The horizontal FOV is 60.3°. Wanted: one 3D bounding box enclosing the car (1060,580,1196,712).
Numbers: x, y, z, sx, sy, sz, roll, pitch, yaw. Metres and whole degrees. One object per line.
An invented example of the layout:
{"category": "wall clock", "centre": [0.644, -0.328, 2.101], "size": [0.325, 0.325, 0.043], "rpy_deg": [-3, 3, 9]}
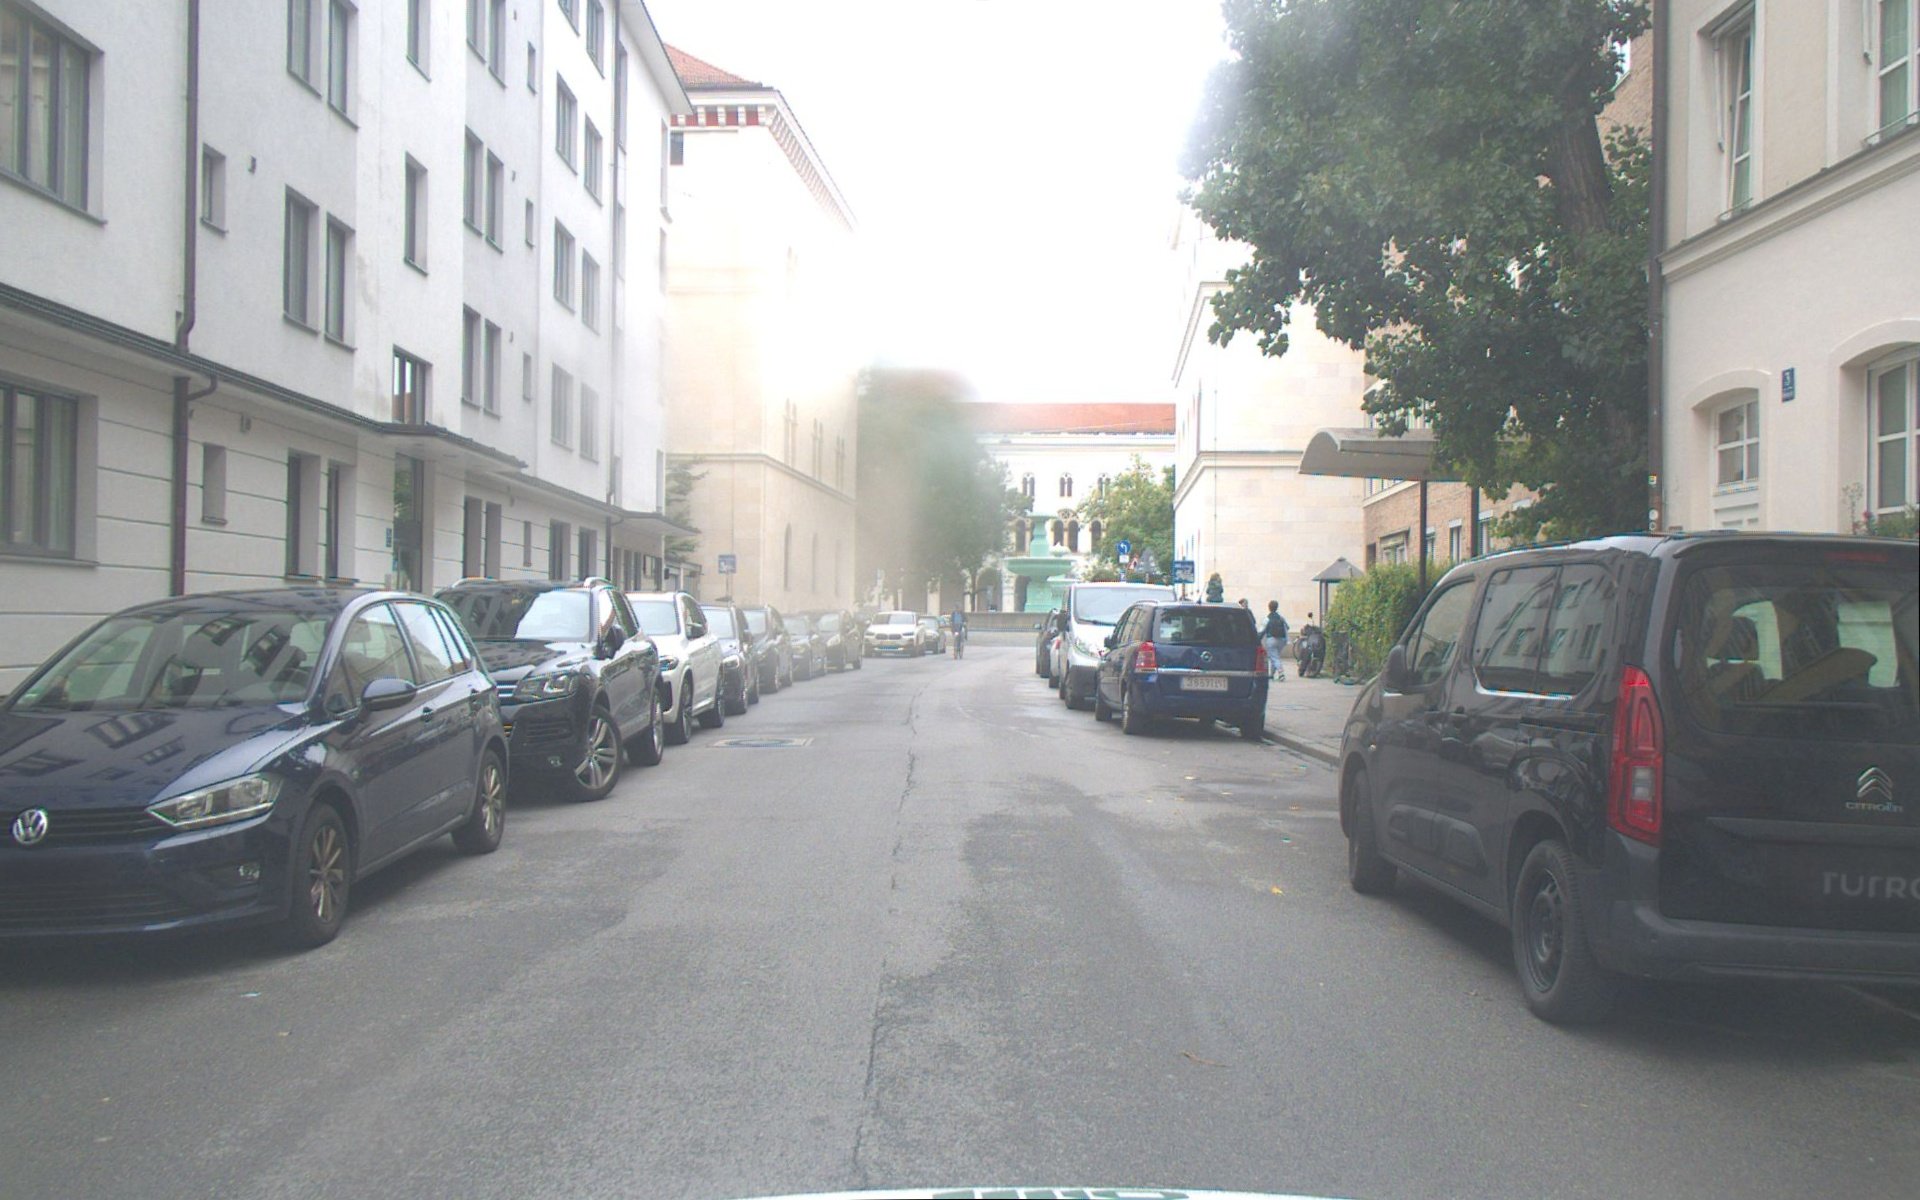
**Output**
{"category": "car", "centre": [2.644, 0.686, 27.063], "size": [1.843, 1.958, 4.875], "rpy_deg": [0, 0, 1]}

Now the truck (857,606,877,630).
{"category": "truck", "centre": [-10.138, 1.971, 180.902], "size": [1.955, 2.532, 3.995], "rpy_deg": [1, 0, -6]}

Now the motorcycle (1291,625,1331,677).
{"category": "motorcycle", "centre": [7.768, 1.121, 36.611], "size": [0.478, 1.072, 1.924], "rpy_deg": [1, 0, 0]}

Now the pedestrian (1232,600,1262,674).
{"category": "pedestrian", "centre": [6.570, 0.838, 37.878], "size": [0.575, 1.661, 0.877], "rpy_deg": [1, 0, 5]}

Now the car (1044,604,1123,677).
{"category": "car", "centre": [2.886, 0.922, 39.288], "size": [1.711, 1.621, 3.957], "rpy_deg": [1, 0, 2]}

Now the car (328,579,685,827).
{"category": "car", "centre": [-3.602, 0.712, 14.045], "size": [1.834, 1.717, 4.519], "rpy_deg": [-1, 0, -1]}

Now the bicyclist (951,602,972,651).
{"category": "bicyclist", "centre": [0.057, 0.854, 54.019], "size": [0.643, 1.578, 0.888], "rpy_deg": [0, -1, 2]}

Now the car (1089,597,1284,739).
{"category": "car", "centre": [2.803, 0.800, 21.378], "size": [1.771, 1.628, 4.213], "rpy_deg": [1, 0, -2]}

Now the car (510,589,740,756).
{"category": "car", "centre": [-3.796, 0.738, 19.538], "size": [1.834, 1.687, 4.589], "rpy_deg": [-1, 0, -1]}

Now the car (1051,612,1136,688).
{"category": "car", "centre": [2.735, 1.004, 34.543], "size": [1.638, 1.442, 4.203], "rpy_deg": [1, 0, 3]}

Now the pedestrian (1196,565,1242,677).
{"category": "pedestrian", "centre": [5.225, 0.418, 33.399], "size": [0.777, 2.236, 0.813], "rpy_deg": [1, 0, -1]}

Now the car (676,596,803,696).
{"category": "car", "centre": [-4.064, 0.807, 31.064], "size": [1.834, 1.687, 4.079], "rpy_deg": [-1, 0, -1]}

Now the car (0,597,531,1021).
{"category": "car", "centre": [-3.564, 0.803, 8.390], "size": [1.737, 1.566, 4.158], "rpy_deg": [-1, 0, -1]}

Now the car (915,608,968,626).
{"category": "car", "centre": [-1.370, 1.286, 125.432], "size": [3.903, 1.400, 2.001], "rpy_deg": [0, 0, 3]}

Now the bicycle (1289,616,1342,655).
{"category": "bicycle", "centre": [9.832, 0.986, 45.779], "size": [1.399, 1.060, 0.348], "rpy_deg": [-1, 0, 3]}

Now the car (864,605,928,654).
{"category": "car", "centre": [-2.138, 1.002, 56.522], "size": [1.741, 1.562, 4.213], "rpy_deg": [-1, -1, 4]}

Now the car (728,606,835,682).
{"category": "car", "centre": [-3.870, 0.924, 36.495], "size": [1.714, 1.479, 4.017], "rpy_deg": [-1, 0, 3]}

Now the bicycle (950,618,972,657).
{"category": "bicycle", "centre": [0.044, 1.211, 53.932], "size": [0.635, 1.218, 1.950], "rpy_deg": [0, 0, 2]}

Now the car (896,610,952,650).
{"category": "car", "centre": [-1.327, 1.130, 62.705], "size": [1.662, 1.417, 4.214], "rpy_deg": [-1, -1, 5]}

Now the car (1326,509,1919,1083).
{"category": "car", "centre": [3.043, 0.666, 7.431], "size": [1.809, 1.807, 4.200], "rpy_deg": [2, -1, 0]}

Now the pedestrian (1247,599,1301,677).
{"category": "pedestrian", "centre": [6.483, 0.776, 34.126], "size": [0.932, 1.574, 0.672], "rpy_deg": [0, 0, -8]}

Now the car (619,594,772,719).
{"category": "car", "centre": [-3.959, 0.784, 25.439], "size": [1.835, 1.687, 4.587], "rpy_deg": [-1, 0, -3]}

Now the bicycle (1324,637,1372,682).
{"category": "bicycle", "centre": [7.559, 1.151, 32.270], "size": [0.506, 0.832, 1.432], "rpy_deg": [0, 0, -4]}

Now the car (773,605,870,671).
{"category": "car", "centre": [-3.400, 0.904, 41.253], "size": [1.713, 1.479, 4.018], "rpy_deg": [-1, 0, 5]}
